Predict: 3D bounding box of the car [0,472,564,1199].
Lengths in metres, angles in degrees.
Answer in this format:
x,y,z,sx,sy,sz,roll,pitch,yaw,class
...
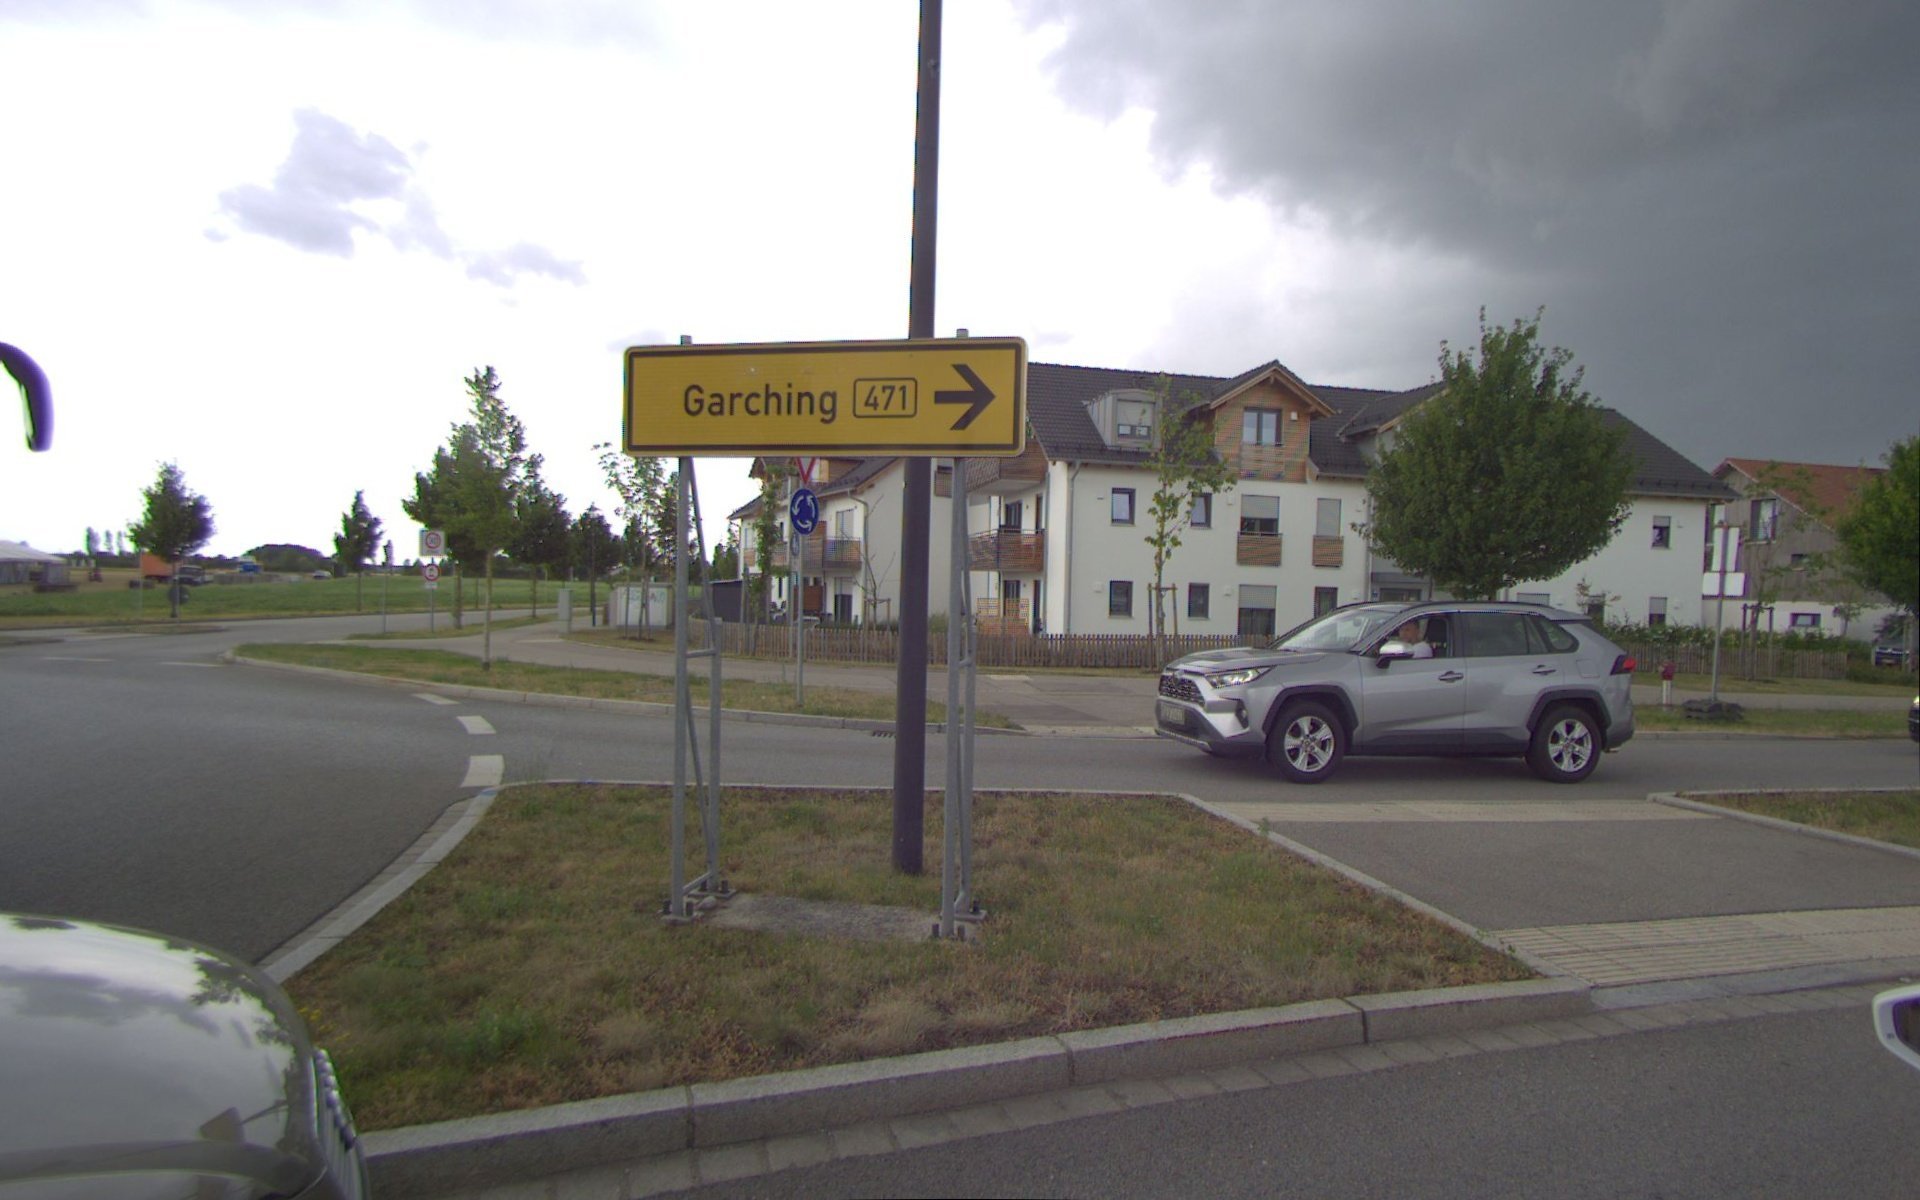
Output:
x,y,z,sx,sy,sz,roll,pitch,yaw,class
-2.704,0.592,0.288,4.502,1.484,1.763,1,0,-39,car

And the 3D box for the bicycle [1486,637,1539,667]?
x,y,z,sx,sy,sz,roll,pitch,yaw,class
17.190,1.607,31.237,1.520,0.854,0.367,2,3,-12,bicycle

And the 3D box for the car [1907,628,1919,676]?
x,y,z,sx,sy,sz,roll,pitch,yaw,class
35.549,1.912,34.162,1.964,1.702,4.536,2,1,-10,car

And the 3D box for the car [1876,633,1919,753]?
x,y,z,sx,sy,sz,roll,pitch,yaw,class
13.778,1.191,12.223,4.380,1.435,1.755,2,-1,-14,car

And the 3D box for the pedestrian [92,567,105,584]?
x,y,z,sx,sy,sz,roll,pitch,yaw,class
-101.989,-2.909,118.943,1.042,2.041,1.049,1,1,-37,pedestrian

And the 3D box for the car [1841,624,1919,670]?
x,y,z,sx,sy,sz,roll,pitch,yaw,class
40.882,2.048,43.277,4.384,1.795,1.997,2,1,-9,car

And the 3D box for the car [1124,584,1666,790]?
x,y,z,sx,sy,sz,roll,pitch,yaw,class
4.140,0.787,9.868,4.554,1.726,1.995,2,0,-12,car
